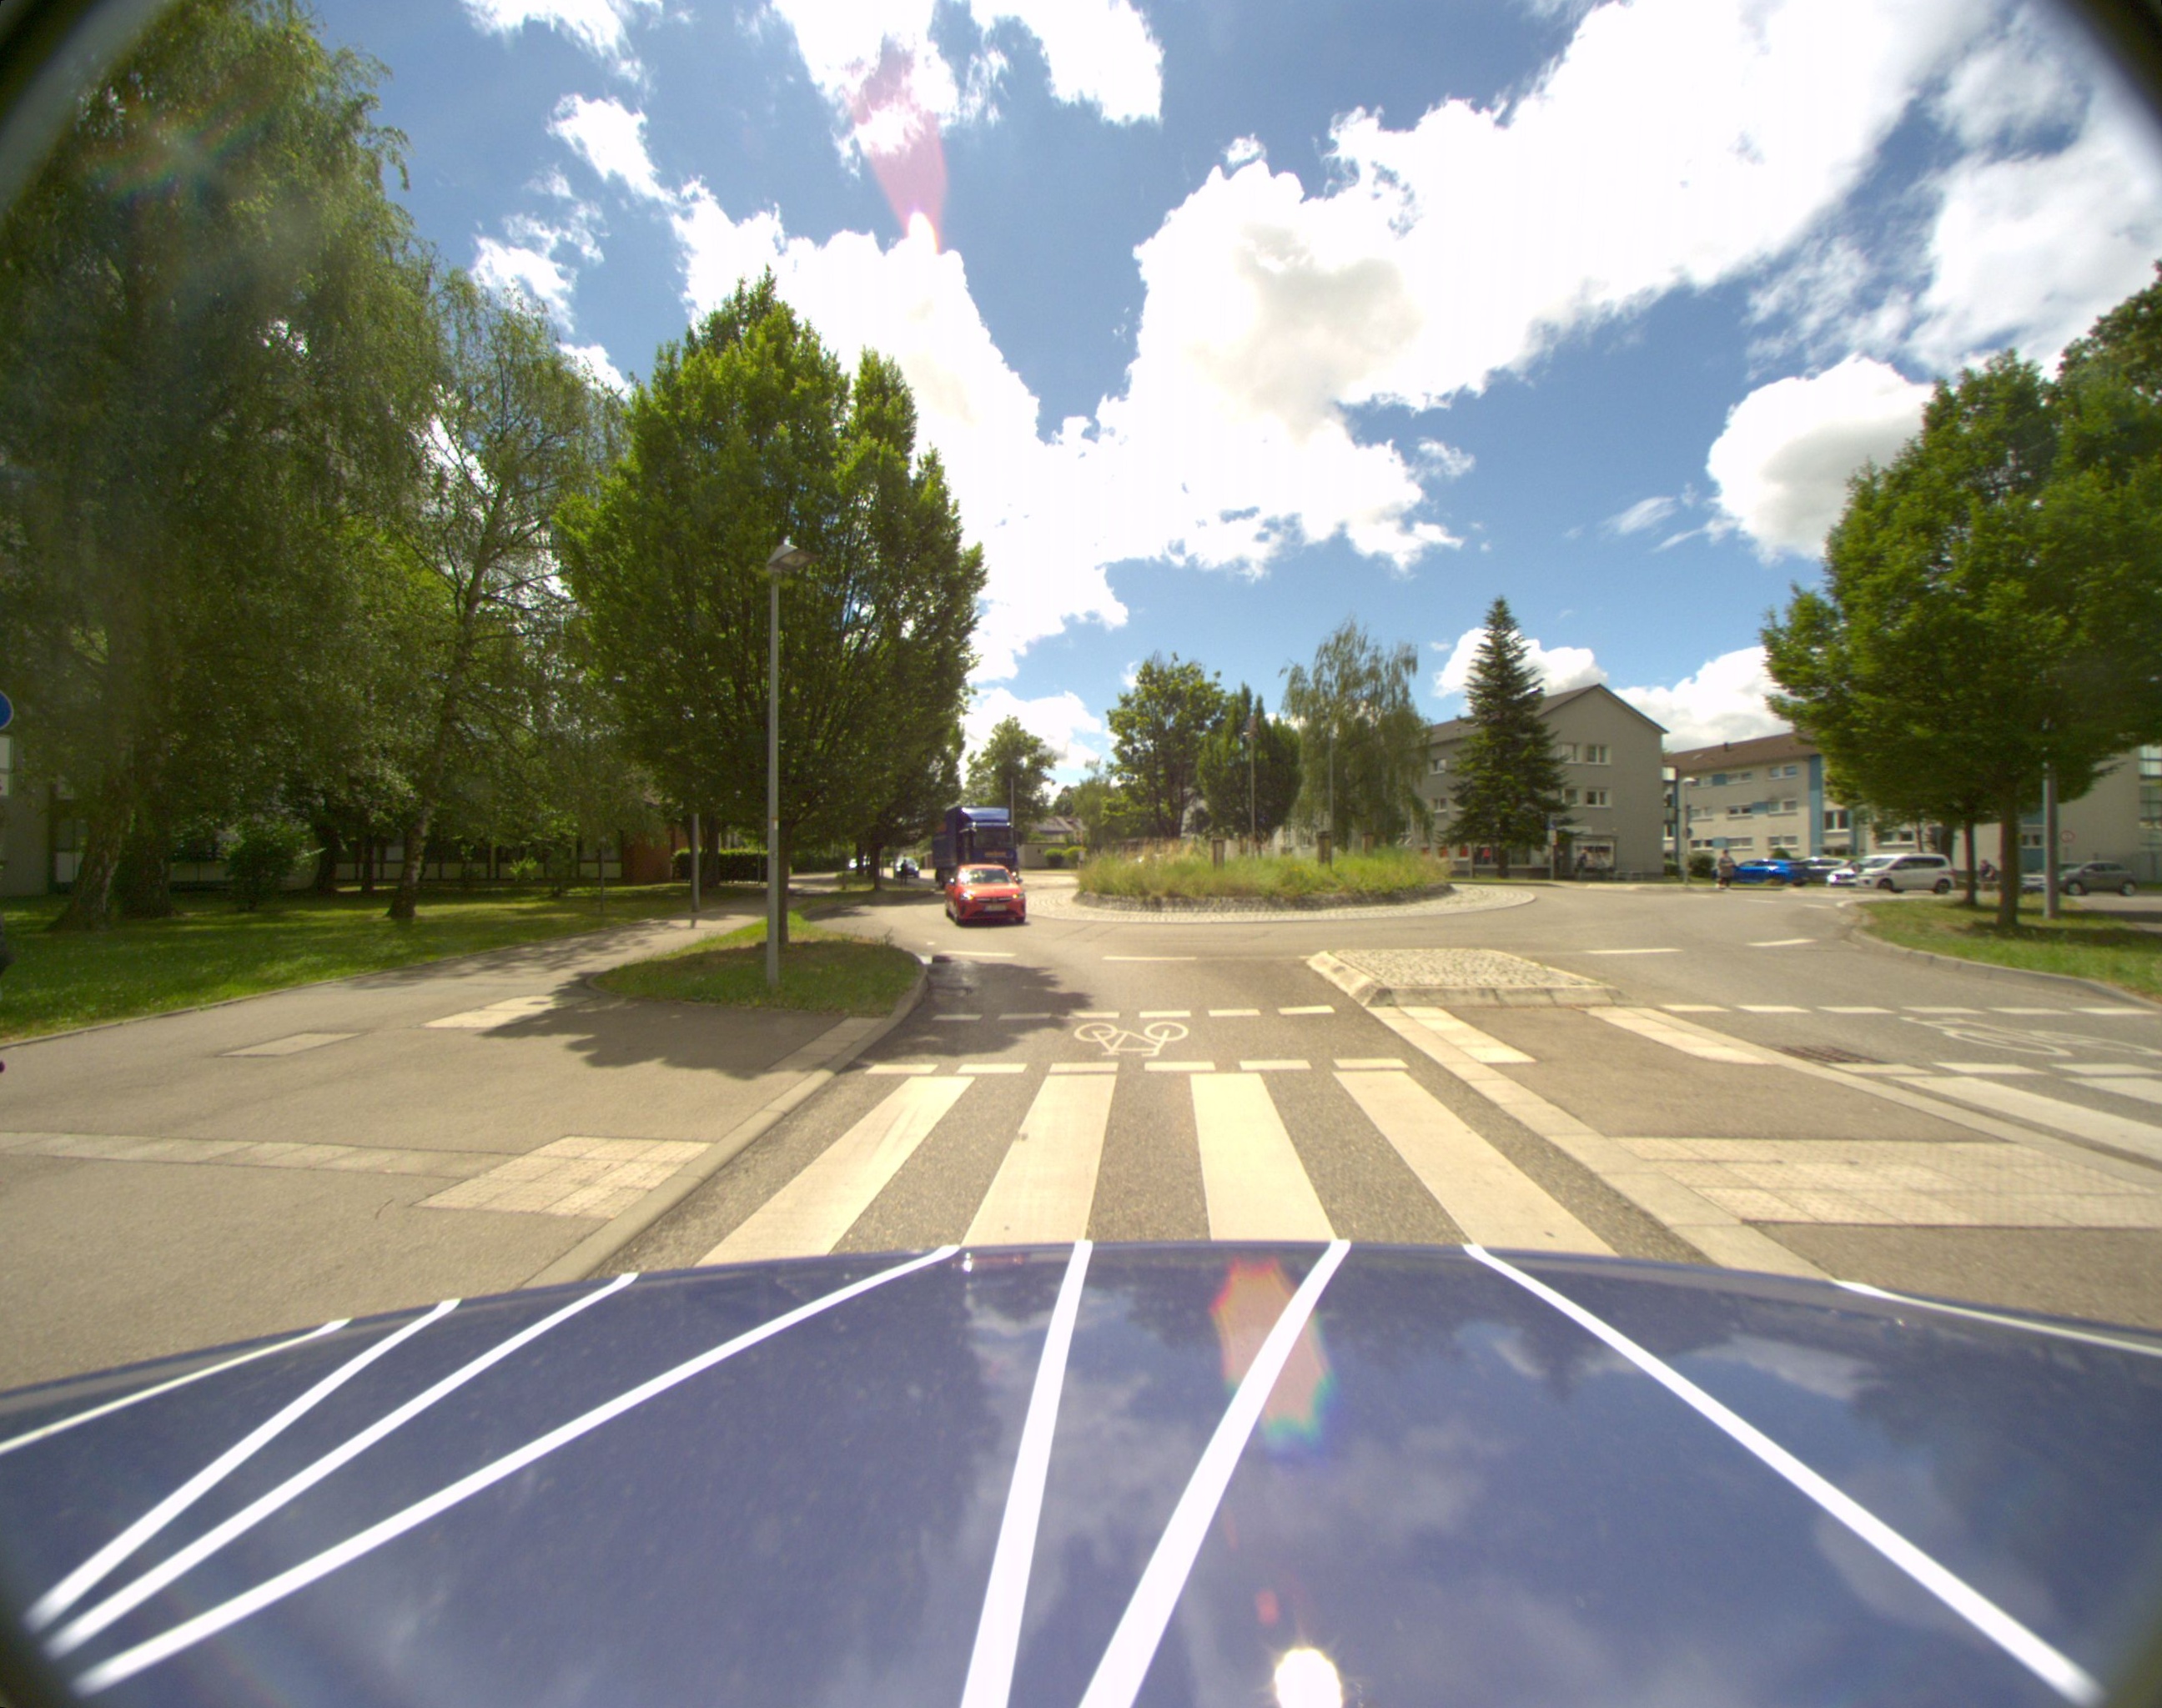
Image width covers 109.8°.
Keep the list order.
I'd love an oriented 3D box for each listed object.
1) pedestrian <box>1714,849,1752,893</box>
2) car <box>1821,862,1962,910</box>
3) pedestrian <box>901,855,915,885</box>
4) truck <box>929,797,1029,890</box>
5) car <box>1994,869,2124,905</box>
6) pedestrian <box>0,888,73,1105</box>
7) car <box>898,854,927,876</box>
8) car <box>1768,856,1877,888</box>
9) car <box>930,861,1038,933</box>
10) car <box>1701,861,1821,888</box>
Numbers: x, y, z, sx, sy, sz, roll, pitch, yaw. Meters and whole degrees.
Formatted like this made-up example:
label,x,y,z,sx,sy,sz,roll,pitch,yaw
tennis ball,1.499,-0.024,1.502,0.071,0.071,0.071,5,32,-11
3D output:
label,x,y,z,sx,sy,sz,roll,pitch,yaw
pedestrian,27.058,0.708,31.545,0.909,1.787,0.875,0,0,-20
car,35.741,1.397,33.566,4.443,2.038,1.999,0,-1,-7
pedestrian,-9.502,0.865,41.762,0.721,1.570,0.839,-1,3,-14
truck,-5.441,-0.352,38.548,2.792,4.127,9.782,0,-1,-21
car,45.143,1.504,35.118,4.000,1.598,1.998,0,0,-9
pedestrian,-8.002,1.001,5.292,0.874,1.510,0.804,0,-1,2
car,-13.459,0.931,60.410,2.001,1.665,3.996,0,-2,-16
car,40.655,0.967,41.759,2.033,1.548,3.735,0,1,-14
car,-2.640,1.026,19.887,1.768,1.549,3.993,-4,1,-21
car,37.276,1.086,41.829,2.001,1.236,4.489,0,2,-16
